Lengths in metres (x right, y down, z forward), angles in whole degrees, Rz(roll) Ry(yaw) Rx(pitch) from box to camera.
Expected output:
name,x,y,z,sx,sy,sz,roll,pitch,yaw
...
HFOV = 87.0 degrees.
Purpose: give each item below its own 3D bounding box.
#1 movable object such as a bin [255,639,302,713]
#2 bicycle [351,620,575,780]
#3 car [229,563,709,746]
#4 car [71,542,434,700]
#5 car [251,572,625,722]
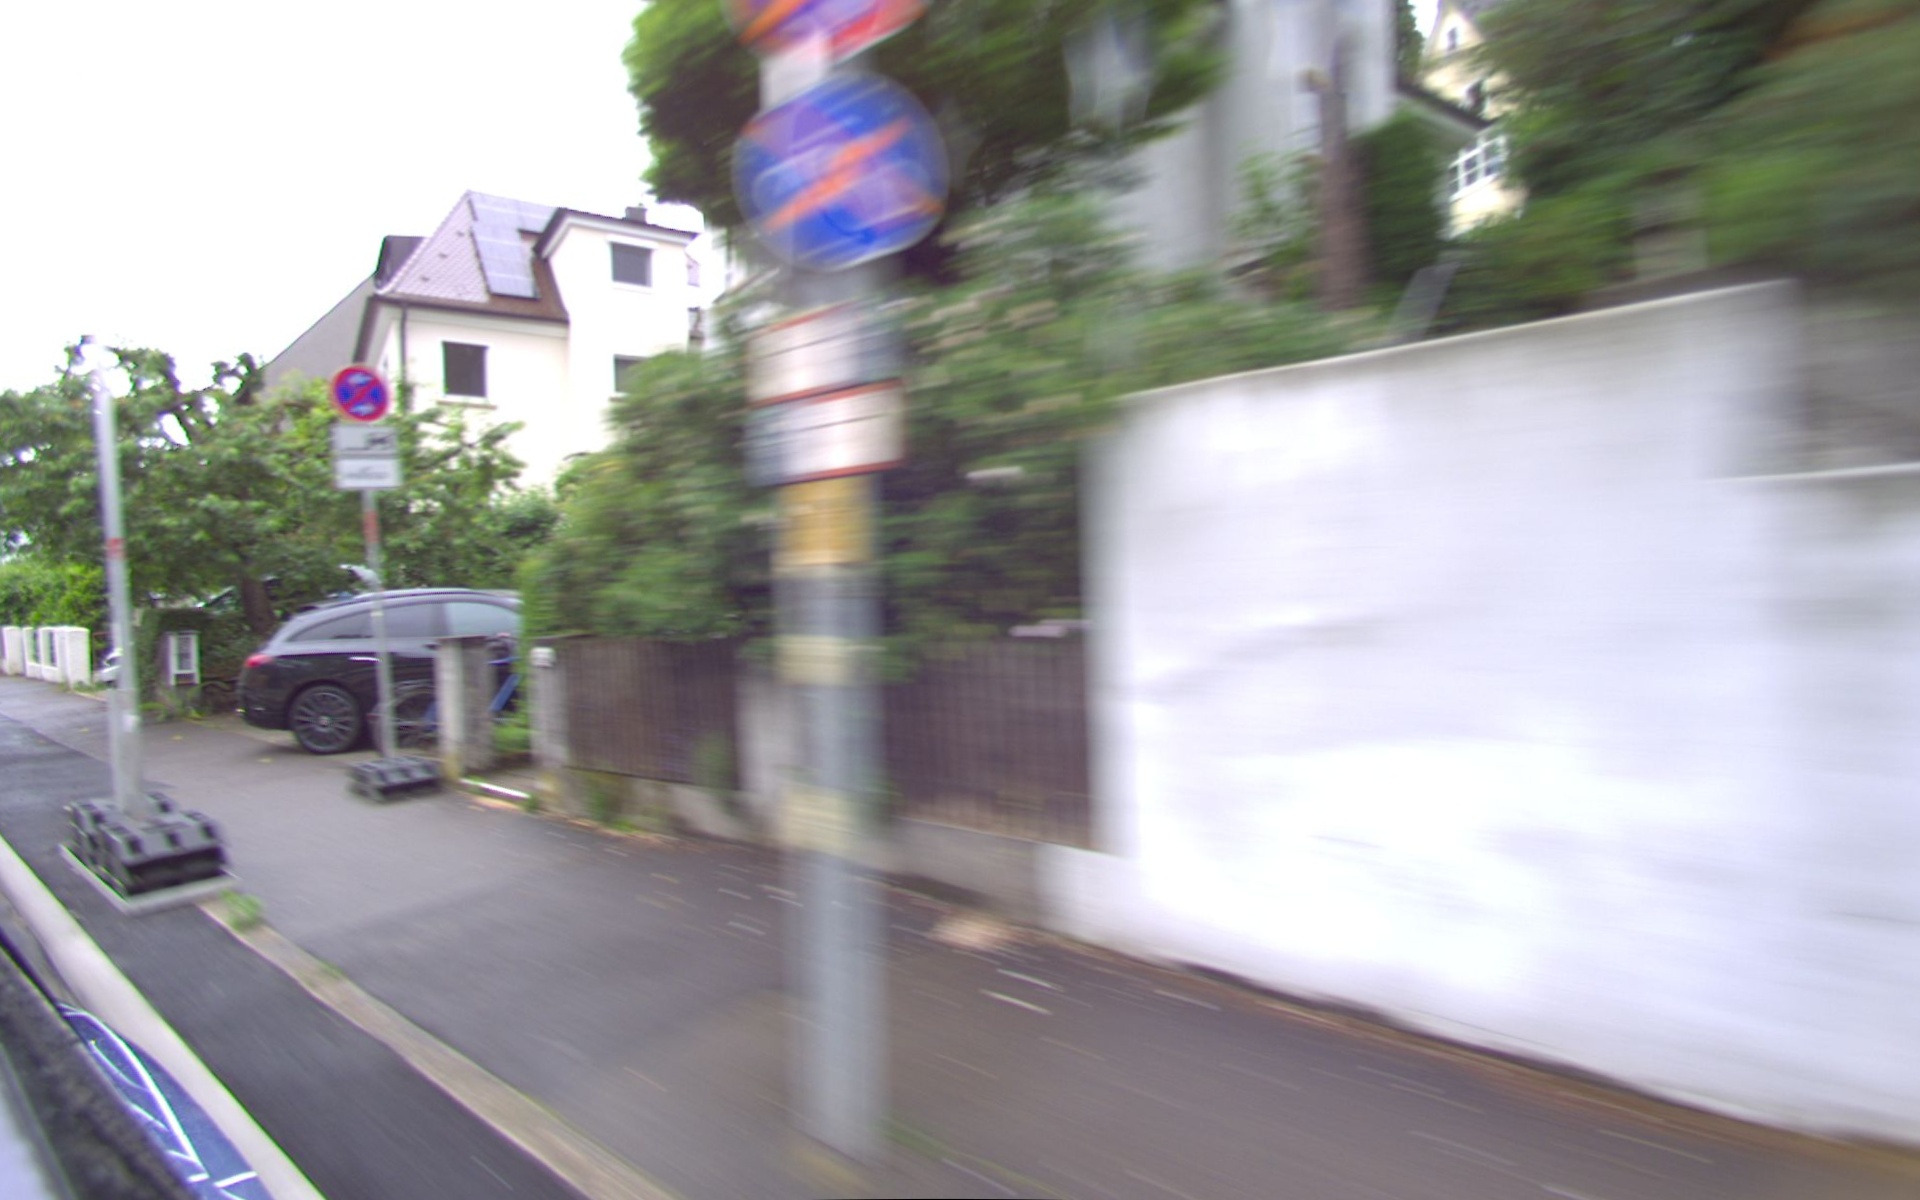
name,x,y,z,sx,sy,sz,roll,pitch,yaw
movable object such as a bin,-9.263,1.015,13.758,0.498,0.938,0.506,-2,1,-36
bicycle,-4.136,0.792,8.499,1.597,1.139,0.444,-3,2,-36
car,-4.747,0.472,10.244,3.942,1.537,1.787,-2,2,-1
car,-12.450,0.275,18.119,4.907,1.626,1.867,-16,8,-38
car,-6.674,0.477,13.130,3.937,1.537,1.944,-3,2,-40
